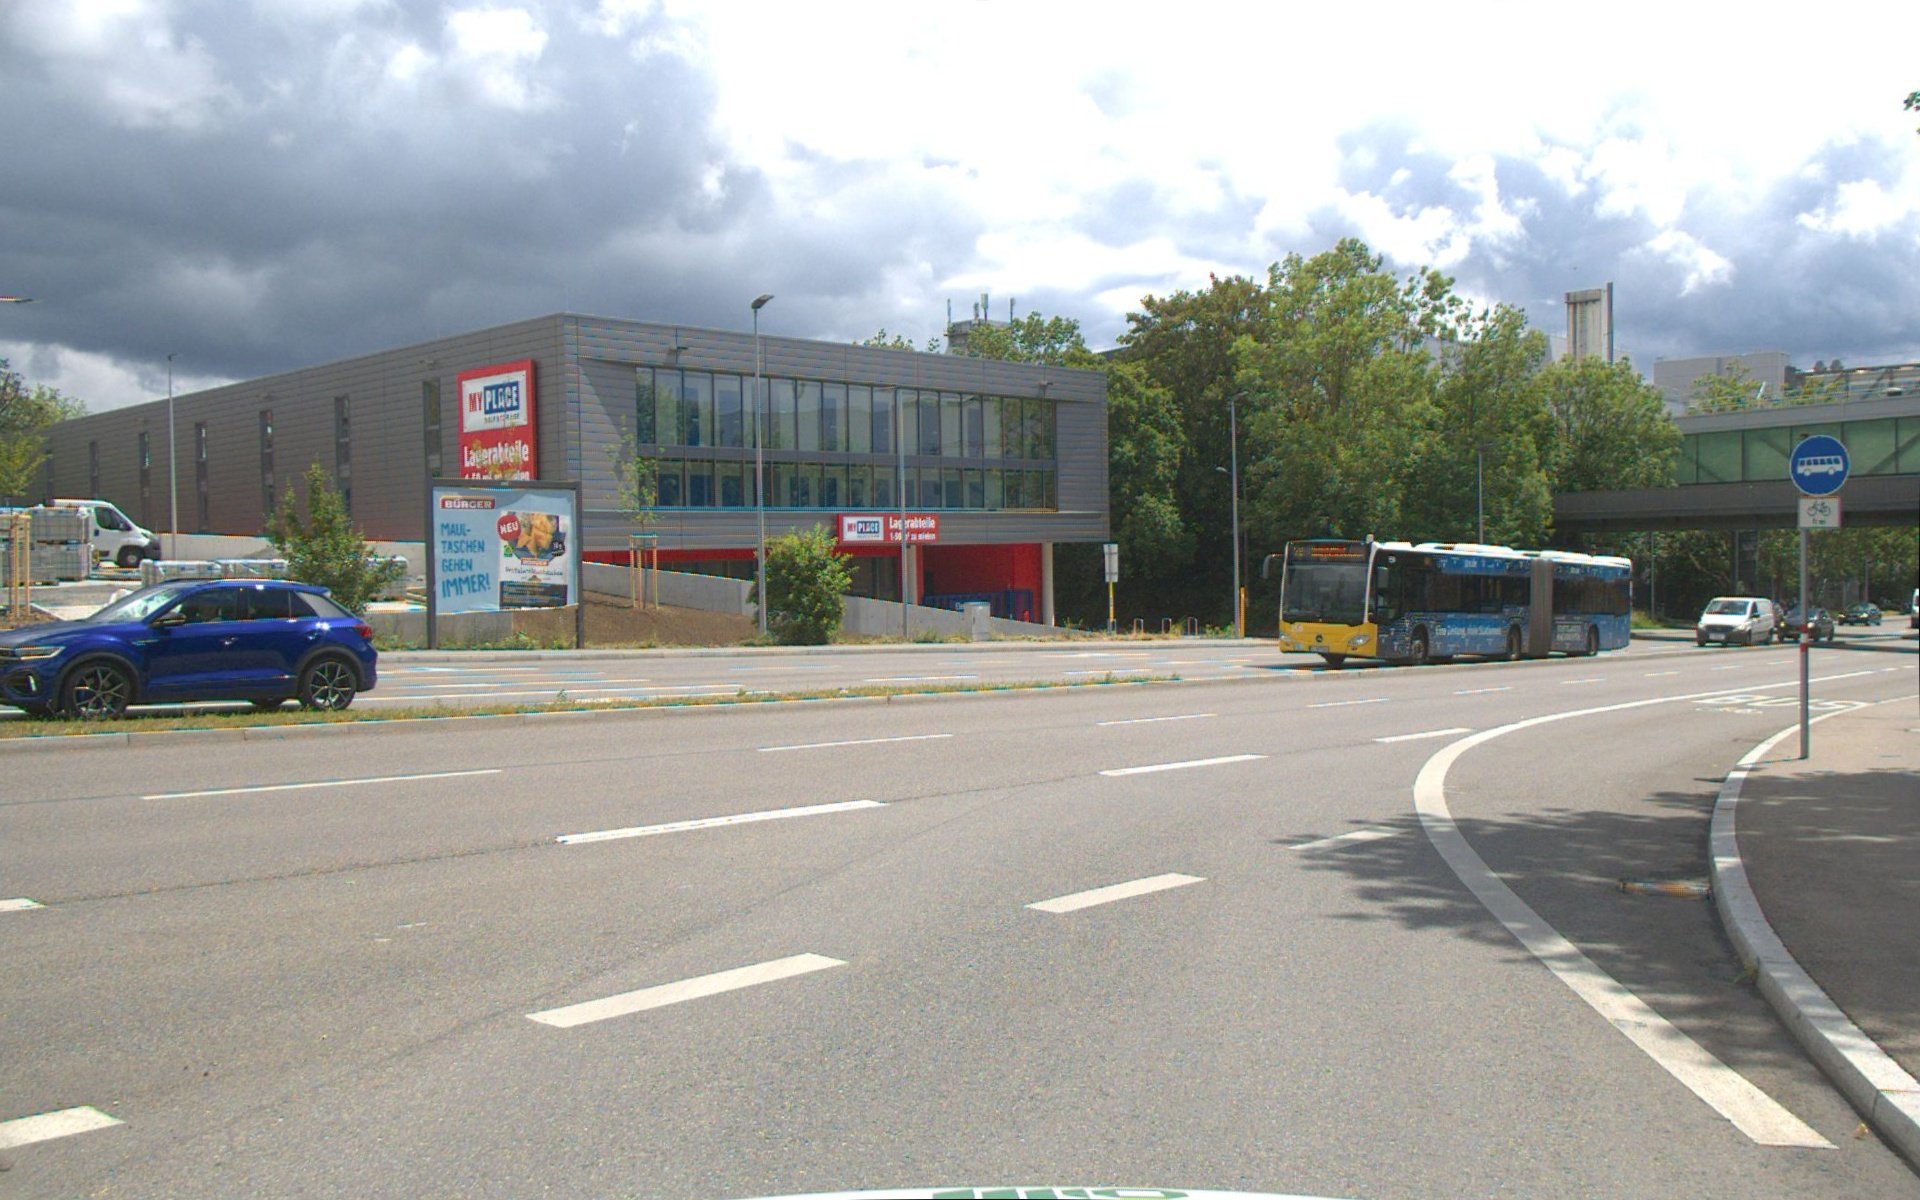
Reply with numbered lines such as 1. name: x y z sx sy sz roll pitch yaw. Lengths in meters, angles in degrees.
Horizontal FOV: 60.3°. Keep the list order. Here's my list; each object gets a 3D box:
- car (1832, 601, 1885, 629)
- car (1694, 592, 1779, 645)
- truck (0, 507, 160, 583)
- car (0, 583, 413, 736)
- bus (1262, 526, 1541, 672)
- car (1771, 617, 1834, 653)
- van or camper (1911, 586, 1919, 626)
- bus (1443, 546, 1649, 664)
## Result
1. car: 58.174 0.959 107.035 3.970 1.780 1.967 1 -1 -45
2. car: 30.480 0.693 64.866 1.849 1.958 4.724 1 1 41
3. truck: -29.272 -1.743 52.707 6.505 2.182 1.976 -5 4 -35
4. car: -8.737 0.592 19.018 1.779 1.537 4.371 1 1 42
5. bus: 11.595 0.013 42.523 2.774 3.342 10.061 1 0 41
6. car: 37.818 1.536 74.244 1.613 1.496 3.753 1 1 42
7. van or camper: 60.653 0.377 102.345 1.978 2.443 6.361 0 0 41
8. bus: 17.758 0.091 49.702 2.774 3.219 8.856 1 1 41
